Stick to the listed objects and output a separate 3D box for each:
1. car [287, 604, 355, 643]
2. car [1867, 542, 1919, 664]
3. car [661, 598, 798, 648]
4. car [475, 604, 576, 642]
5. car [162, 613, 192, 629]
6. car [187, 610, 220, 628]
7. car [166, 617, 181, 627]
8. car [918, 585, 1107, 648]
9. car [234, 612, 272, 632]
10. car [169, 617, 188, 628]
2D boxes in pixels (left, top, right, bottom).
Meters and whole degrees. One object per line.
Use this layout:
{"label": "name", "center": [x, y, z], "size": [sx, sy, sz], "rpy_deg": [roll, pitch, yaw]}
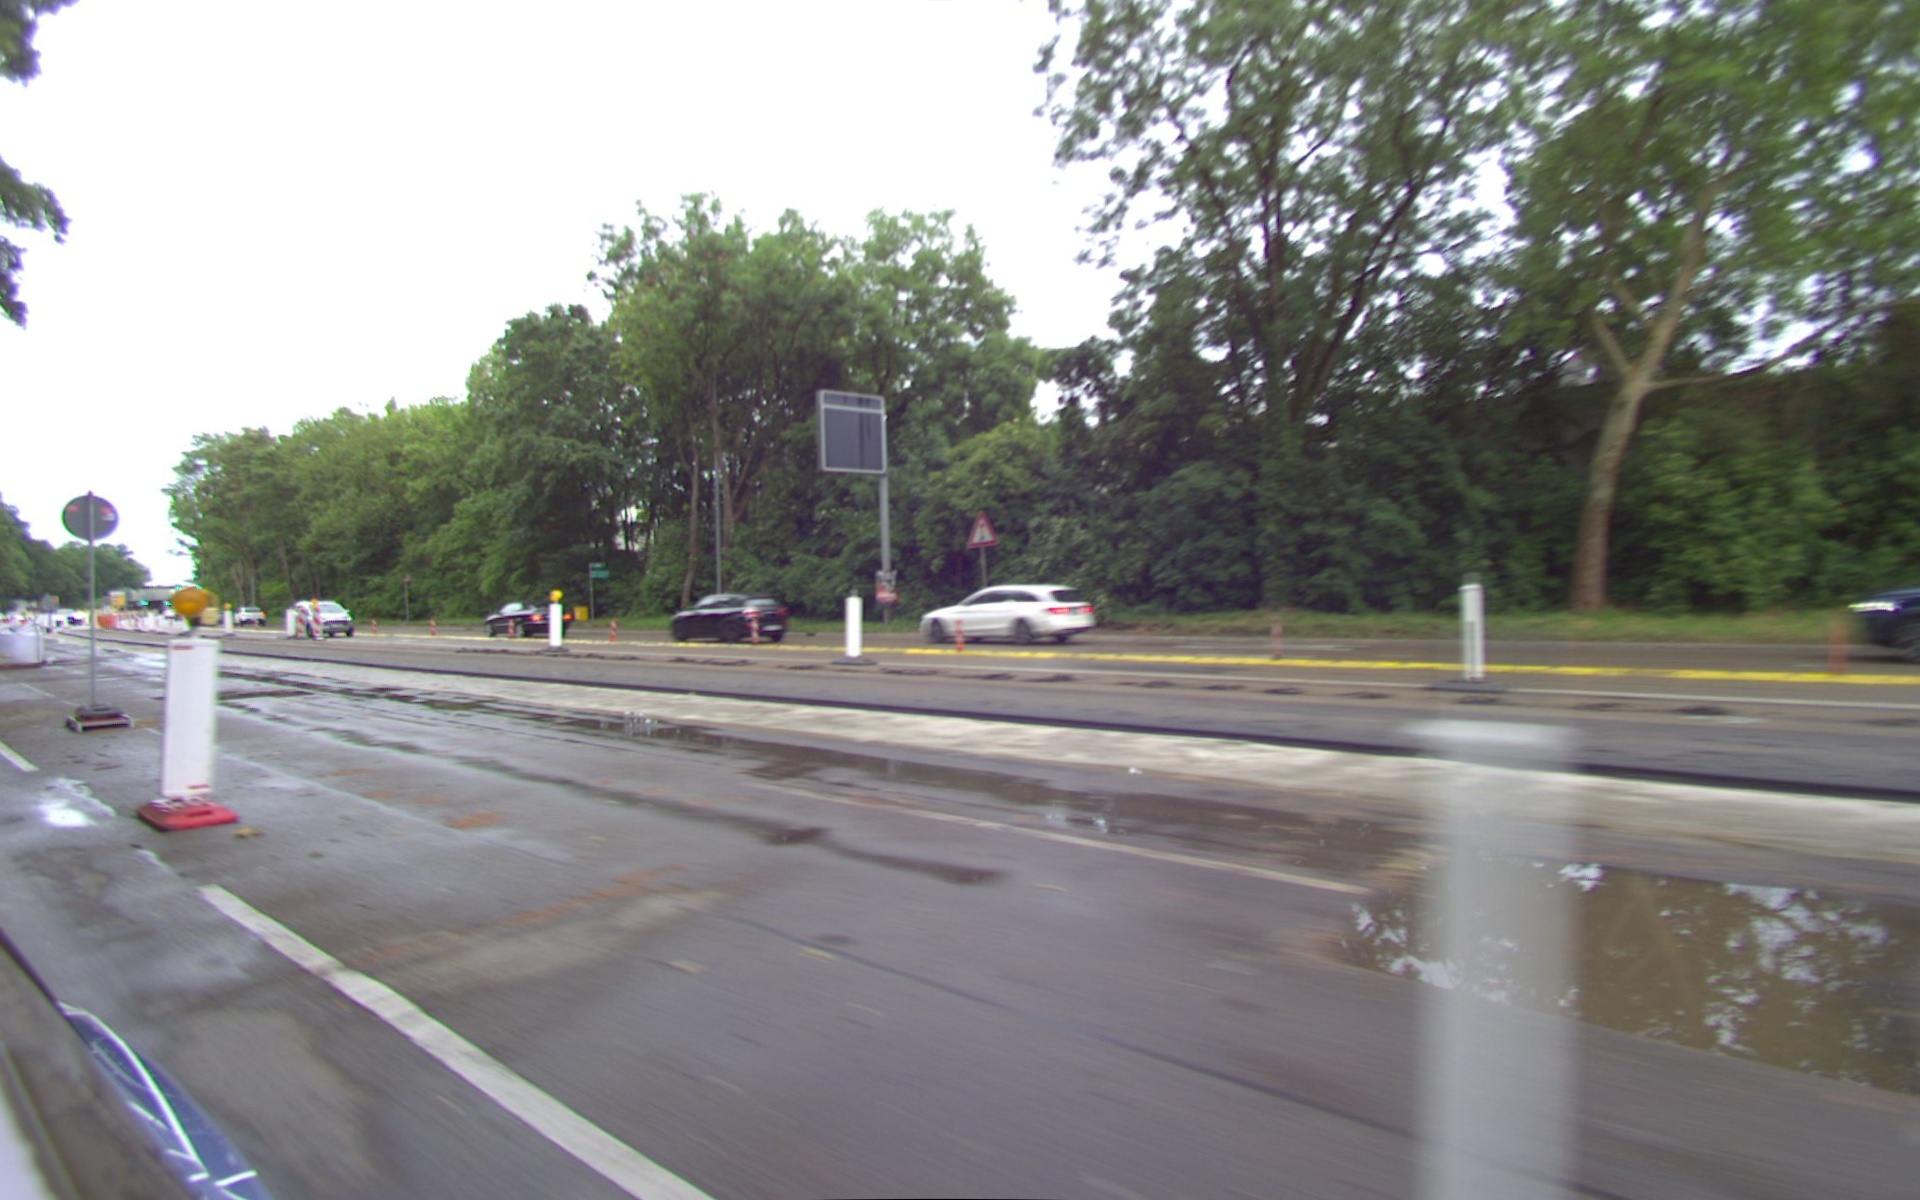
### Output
{"label": "car", "center": [-28.515, 1.046, 45.115], "size": [1.769, 1.596, 3.863], "rpy_deg": [-2, 0, -45]}
{"label": "car", "center": [15.227, -0.019, 13.531], "size": [4.530, 1.698, 1.636], "rpy_deg": [-2, 1, 41]}
{"label": "car", "center": [-6.830, 0.674, 29.820], "size": [4.202, 1.366, 1.799], "rpy_deg": [-2, -2, 41]}
{"label": "car", "center": [-16.554, 0.868, 38.477], "size": [4.387, 1.366, 1.799], "rpy_deg": [-2, -2, 41]}
{"label": "car", "center": [-85.325, 2.319, 110.239], "size": [4.914, 1.676, 1.758], "rpy_deg": [-1, -2, 42]}
{"label": "car", "center": [-74.758, 1.865, 100.005], "size": [4.378, 1.764, 1.758], "rpy_deg": [-1, -1, 42]}
{"label": "car", "center": [-119.987, 3.293, 154.442], "size": [1.761, 1.437, 4.478], "rpy_deg": [-1, -1, -37]}
{"label": "car", "center": [1.253, 0.416, 25.554], "size": [4.600, 1.430, 1.799], "rpy_deg": [-2, 1, 41]}
{"label": "car", "center": [-56.971, 1.766, 81.564], "size": [4.157, 1.553, 1.648], "rpy_deg": [-1, -3, 43]}
{"label": "car", "center": [-101.795, 2.910, 131.848], "size": [1.761, 1.463, 4.689], "rpy_deg": [-1, -1, -40]}
